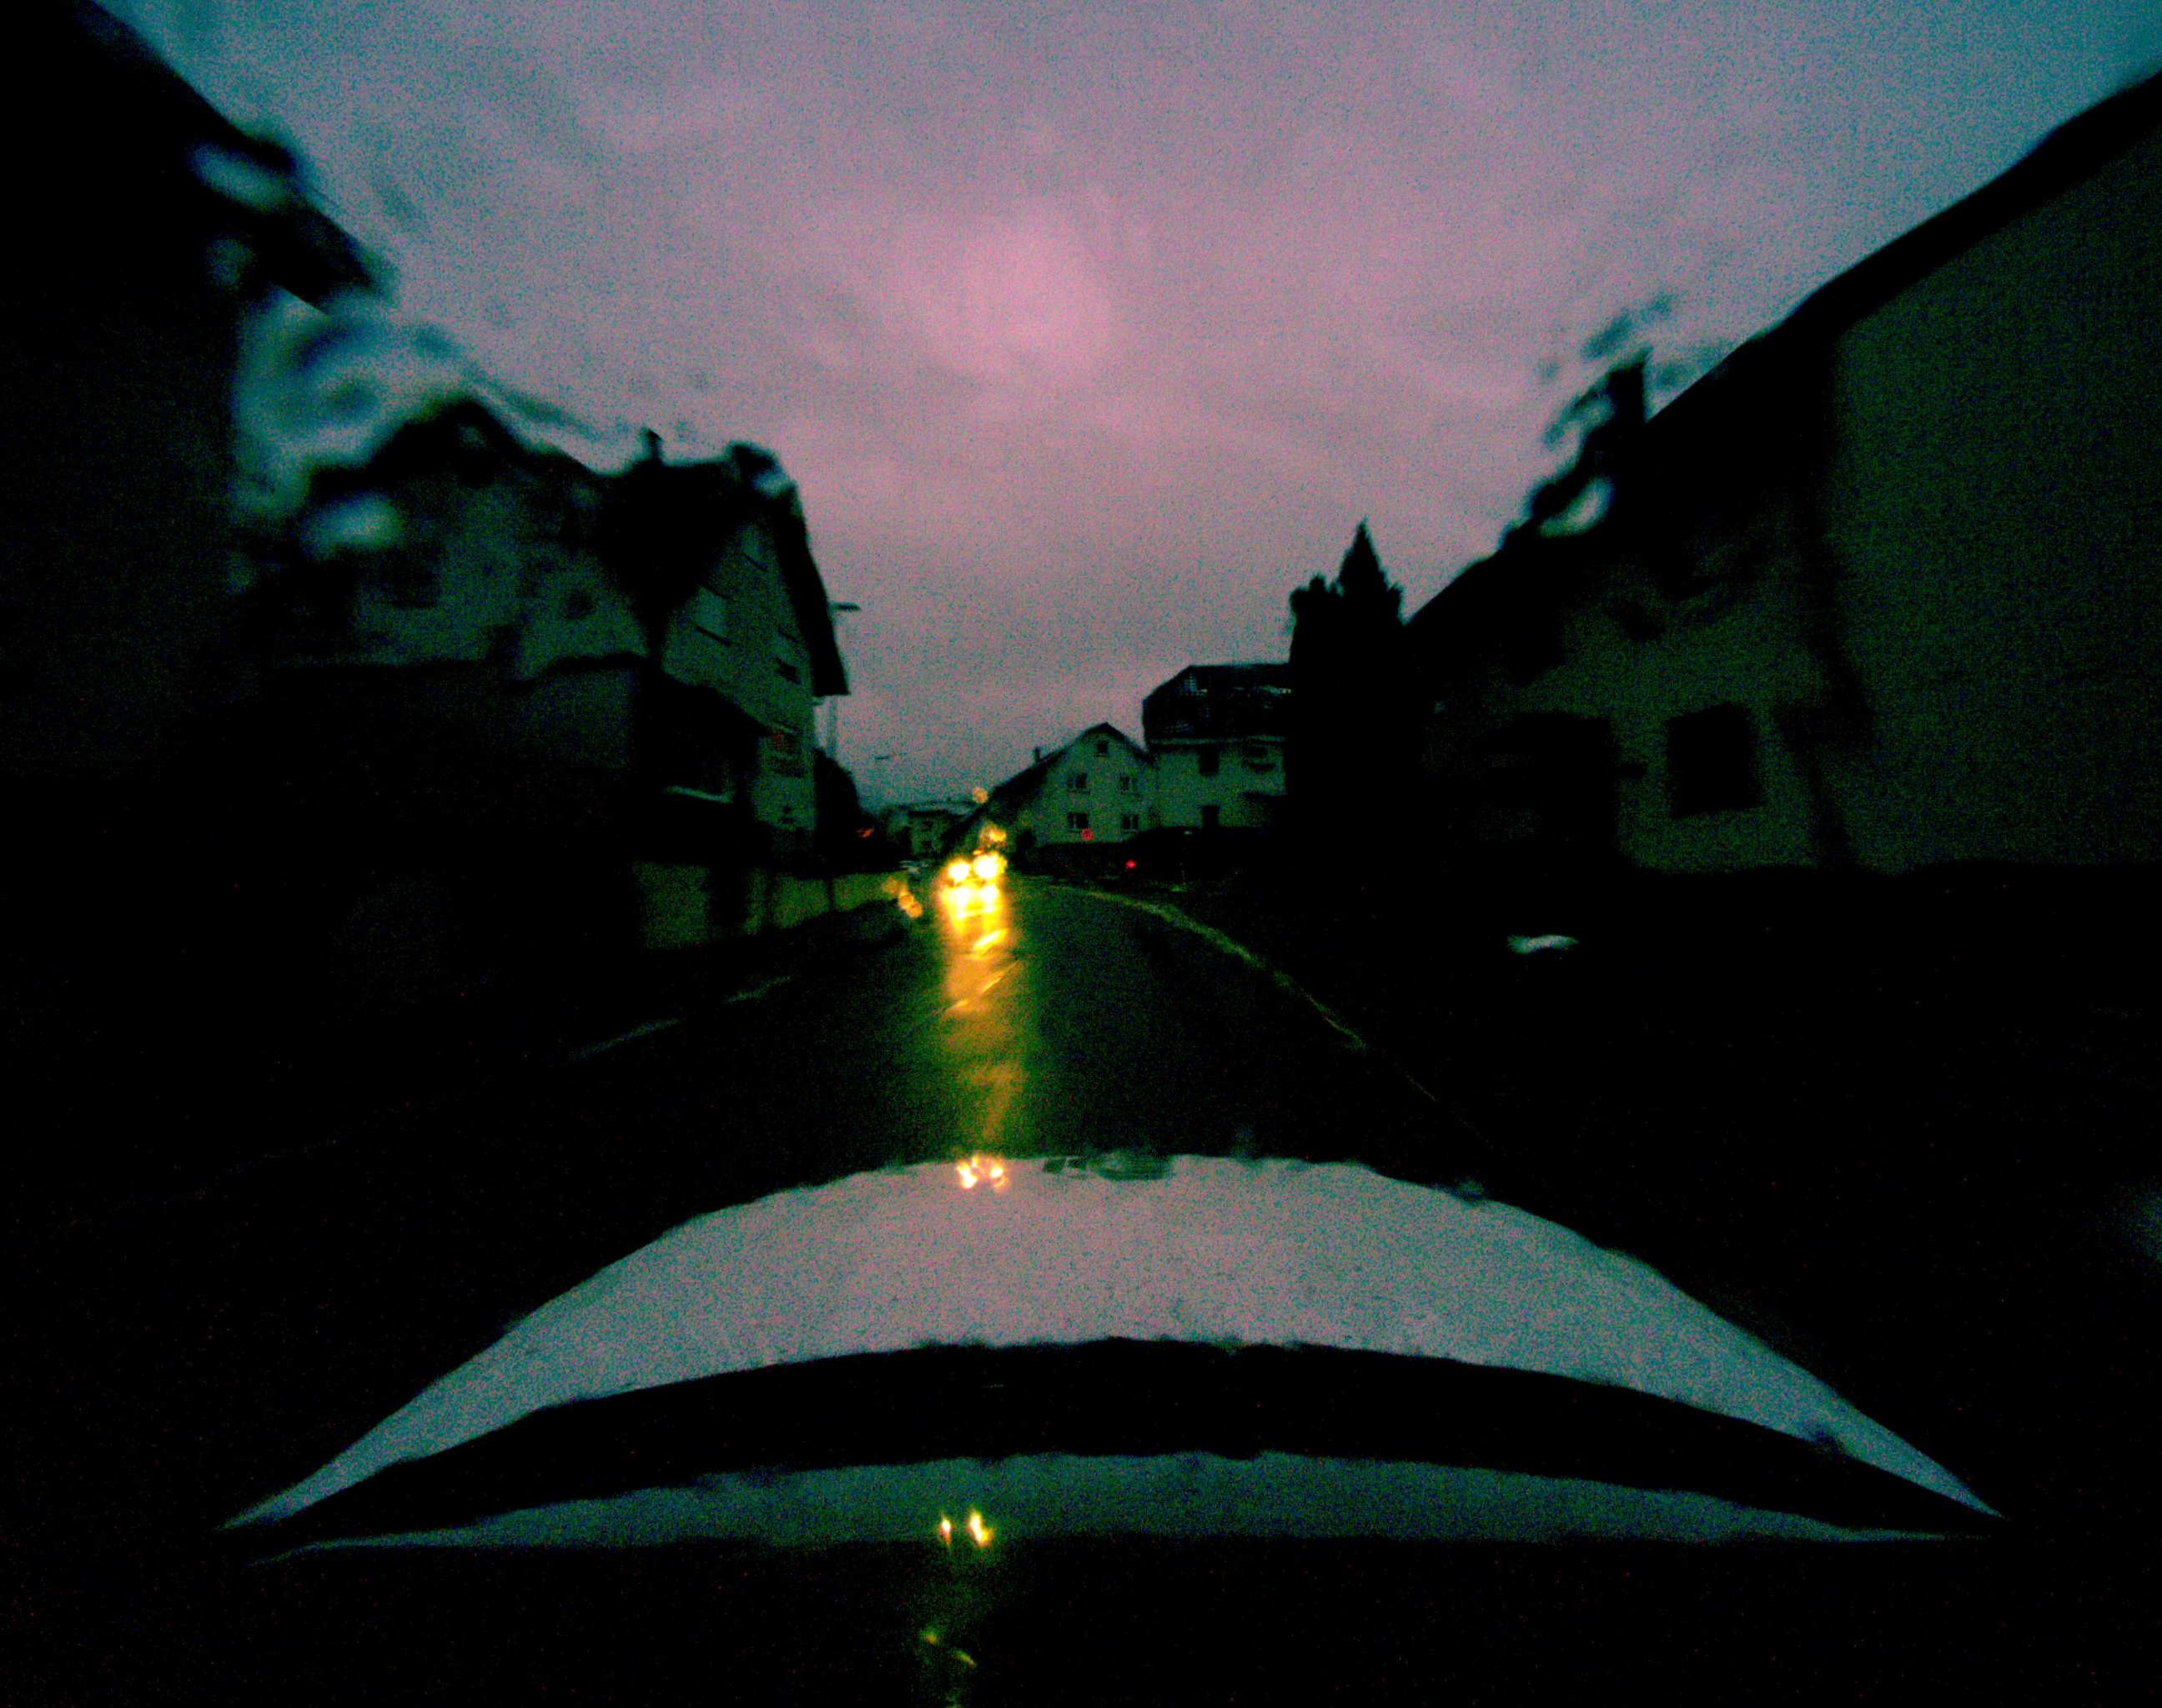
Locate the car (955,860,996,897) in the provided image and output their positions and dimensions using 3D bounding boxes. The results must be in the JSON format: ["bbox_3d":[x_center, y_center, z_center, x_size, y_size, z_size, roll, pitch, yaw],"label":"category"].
[{"bbox_3d":[-6.255,1.412,48.660,2.106,2.027,4.975,-1,0,-4],"label":"car"}]

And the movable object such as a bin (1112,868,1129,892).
[{"bbox_3d":[1.568,1.023,32.405,0.537,0.938,0.687,0,-1,-11],"label":"movable object such as a bin"}]

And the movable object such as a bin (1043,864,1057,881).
[{"bbox_3d":[-1.711,1.003,44.263,0.638,0.917,0.682,0,-1,-14],"label":"movable object such as a bin"}]

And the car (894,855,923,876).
[{"bbox_3d":[-12.521,0.857,58.942,1.623,1.438,3.633,-1,0,-19],"label":"car"}]

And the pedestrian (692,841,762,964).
[{"bbox_3d":[-5.161,0.690,11.916,0.595,1.733,0.812,1,-2,3],"label":"pedestrian"}]

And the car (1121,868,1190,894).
[{"bbox_3d":[4.806,1.740,52.790,3.991,1.618,1.991,1,0,-13],"label":"car"}]
